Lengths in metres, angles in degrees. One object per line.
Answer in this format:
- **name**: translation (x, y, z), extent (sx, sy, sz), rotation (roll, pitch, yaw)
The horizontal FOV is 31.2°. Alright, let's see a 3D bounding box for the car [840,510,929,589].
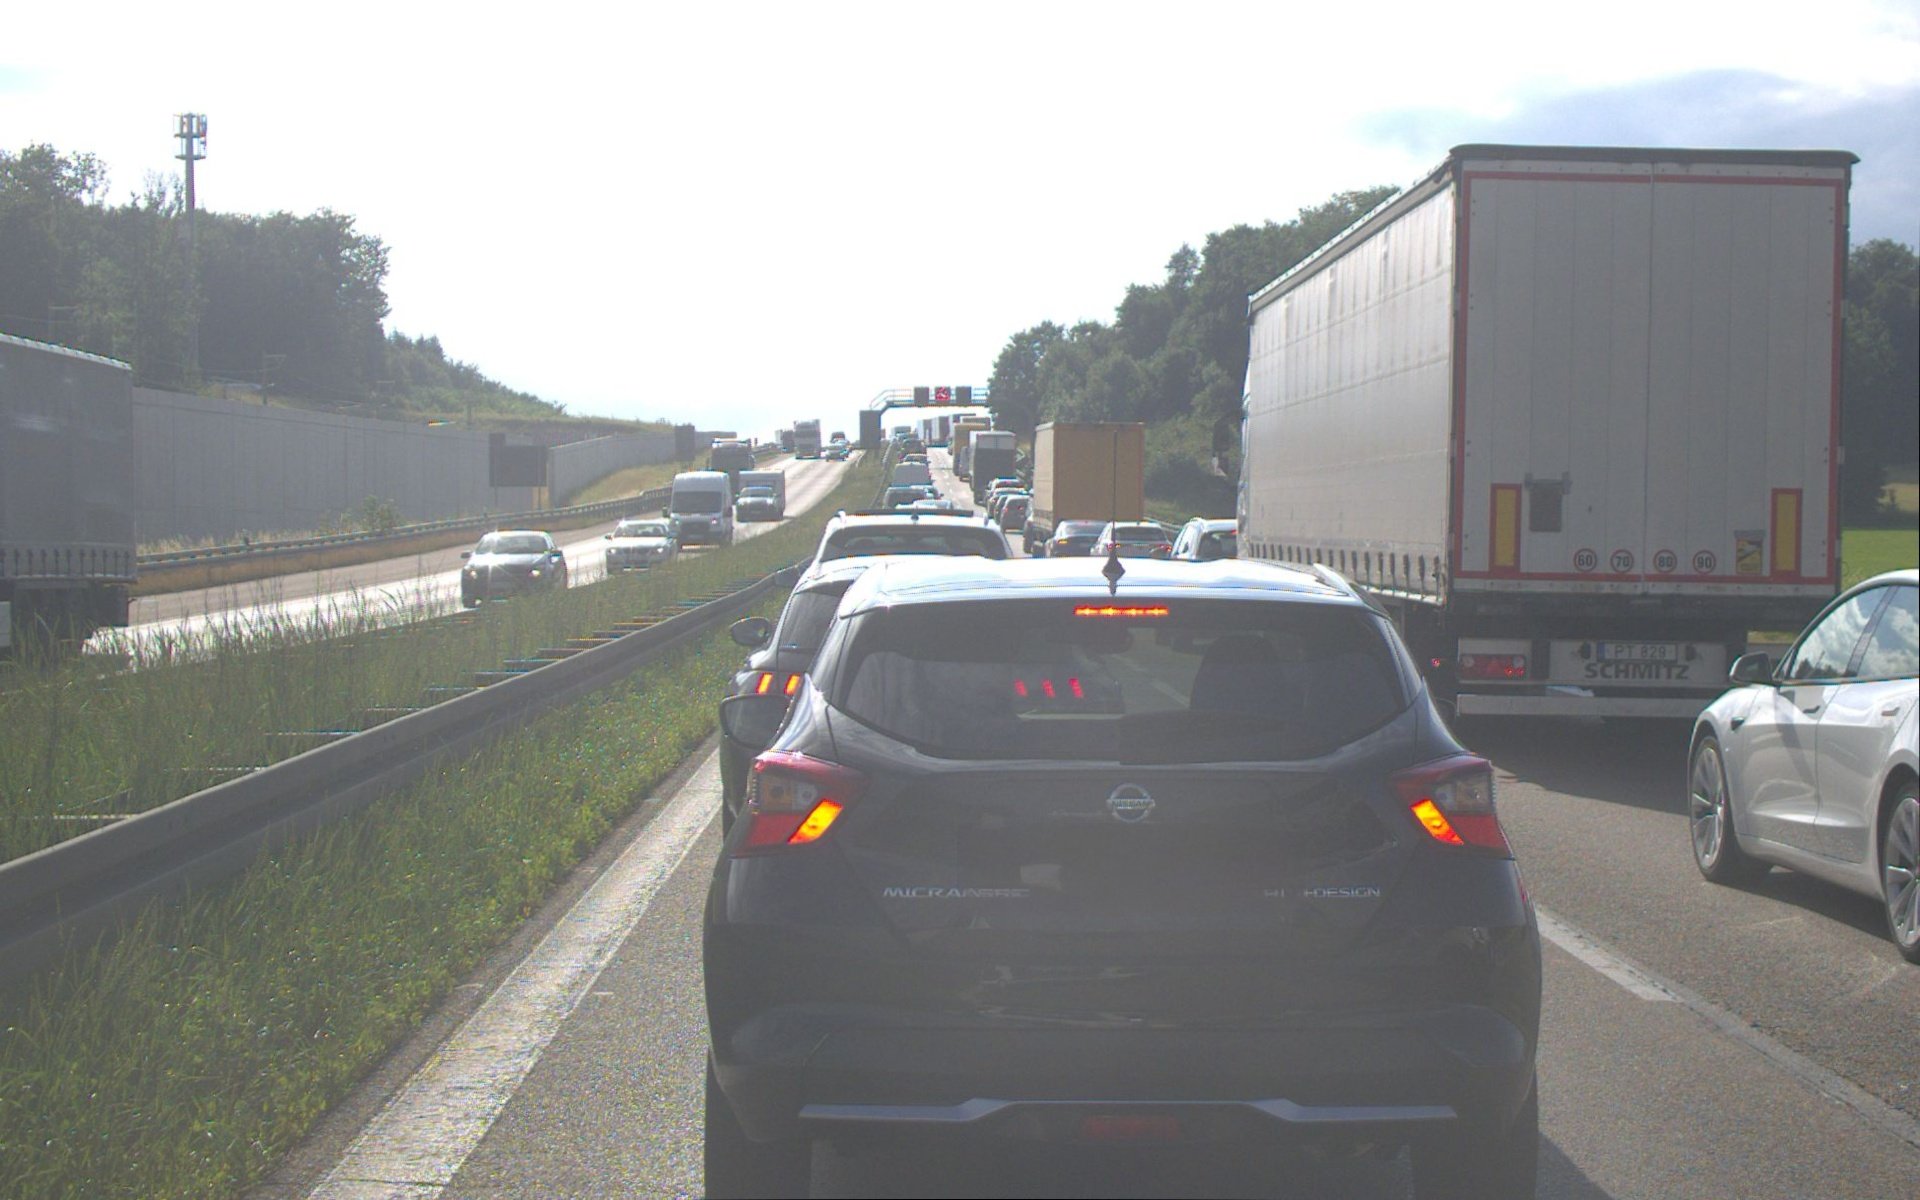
- **car**: translation (-1.622, -1.127, 74.979), extent (1.873, 1.638, 4.233), rotation (0, 2, -1)

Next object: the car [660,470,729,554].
- **car**: translation (-9.317, -3.071, 120.882), extent (2.104, 2.860, 5.637), rotation (0, 1, -1)

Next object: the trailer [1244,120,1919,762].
- **trailer**: translation (4.503, -1.005, 28.284), extent (3.130, 3.997, 13.367), rotation (1, 0, 0)

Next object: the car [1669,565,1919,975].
- **car**: translation (4.186, 0.579, 13.453), extent (1.788, 1.389, 4.437), rotation (0, 1, -2)

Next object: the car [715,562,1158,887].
- **car**: translation (-0.119, 0.503, 16.654), extent (1.873, 1.353, 4.232), rotation (0, 1, -1)

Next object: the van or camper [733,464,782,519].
- **van or camper**: translation (-10.338, -5.540, 176.002), extent (2.252, 2.694, 7.171), rotation (0, 1, -1)

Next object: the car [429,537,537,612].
- **car**: translation (-9.447, -0.514, 68.258), extent (1.651, 1.446, 3.956), rotation (0, 1, -1)

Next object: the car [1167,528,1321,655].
- **car**: translation (3.725, -0.137, 45.689), extent (1.697, 1.605, 4.437), rotation (0, 1, 0)

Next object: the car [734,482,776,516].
- **car**: translation (-10.130, -5.004, 170.241), extent (1.910, 1.666, 4.362), rotation (0, 2, -1)

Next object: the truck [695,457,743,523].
- **truck**: translation (-14.884, -6.762, 212.321), extent (2.582, 3.909, 5.722), rotation (-1, 1, -1)

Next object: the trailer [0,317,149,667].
- **trailer**: translation (-12.567, -1.240, 40.976), extent (2.790, 4.063, 13.521), rotation (-2, 1, -1)

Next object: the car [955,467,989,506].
- **car**: translation (0.678, -6.669, 201.496), extent (1.873, 2.151, 5.212), rotation (0, 4, -1)

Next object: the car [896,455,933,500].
- **car**: translation (-2.352, -6.331, 176.901), extent (1.873, 2.151, 5.212), rotation (0, 4, -1)

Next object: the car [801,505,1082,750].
- **car**: translation (-0.143, 0.152, 25.131), extent (1.873, 1.638, 4.232), rotation (0, 1, -1)

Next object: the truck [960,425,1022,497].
- **truck**: translation (1.969, -9.174, 226.779), extent (3.464, 4.561, 12.443), rotation (1, 2, -2)

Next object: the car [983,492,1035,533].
- **car**: translation (2.039, -3.696, 144.241), extent (1.873, 1.638, 4.233), rotation (0, 2, -4)

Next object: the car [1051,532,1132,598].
- **car**: translation (3.366, -0.927, 88.572), extent (1.873, 1.638, 4.232), rotation (0, 1, -1)

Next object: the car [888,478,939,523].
- **car**: translation (-1.818, -3.864, 133.080), extent (1.873, 1.638, 4.233), rotation (0, 2, -2)

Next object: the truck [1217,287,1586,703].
- **truck**: translation (4.475, -1.028, 35.920), extent (3.133, 4.002, 5.164), rotation (1, 0, 0)

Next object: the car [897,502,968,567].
- **car**: translation (-0.741, -1.795, 93.315), extent (1.873, 1.638, 4.233), rotation (0, 2, -1)

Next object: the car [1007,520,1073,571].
- **car**: translation (2.586, -1.797, 112.516), extent (1.873, 1.638, 4.233), rotation (0, 1, -3)

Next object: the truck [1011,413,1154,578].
- **truck**: translation (3.519, -2.968, 102.097), extent (3.296, 4.562, 12.442), rotation (1, 0, -2)

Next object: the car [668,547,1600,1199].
- **car**: translation (0.312, 0.592, 8.662), extent (1.773, 1.446, 4.232), rotation (0, 1, -1)

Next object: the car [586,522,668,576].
- **car**: translation (-9.108, -1.392, 94.333), extent (1.873, 1.446, 4.232), rotation (0, 1, -1)

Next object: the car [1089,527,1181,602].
- **car**: translation (3.998, -0.837, 79.069), extent (1.873, 1.638, 4.233), rotation (0, 2, -1)
